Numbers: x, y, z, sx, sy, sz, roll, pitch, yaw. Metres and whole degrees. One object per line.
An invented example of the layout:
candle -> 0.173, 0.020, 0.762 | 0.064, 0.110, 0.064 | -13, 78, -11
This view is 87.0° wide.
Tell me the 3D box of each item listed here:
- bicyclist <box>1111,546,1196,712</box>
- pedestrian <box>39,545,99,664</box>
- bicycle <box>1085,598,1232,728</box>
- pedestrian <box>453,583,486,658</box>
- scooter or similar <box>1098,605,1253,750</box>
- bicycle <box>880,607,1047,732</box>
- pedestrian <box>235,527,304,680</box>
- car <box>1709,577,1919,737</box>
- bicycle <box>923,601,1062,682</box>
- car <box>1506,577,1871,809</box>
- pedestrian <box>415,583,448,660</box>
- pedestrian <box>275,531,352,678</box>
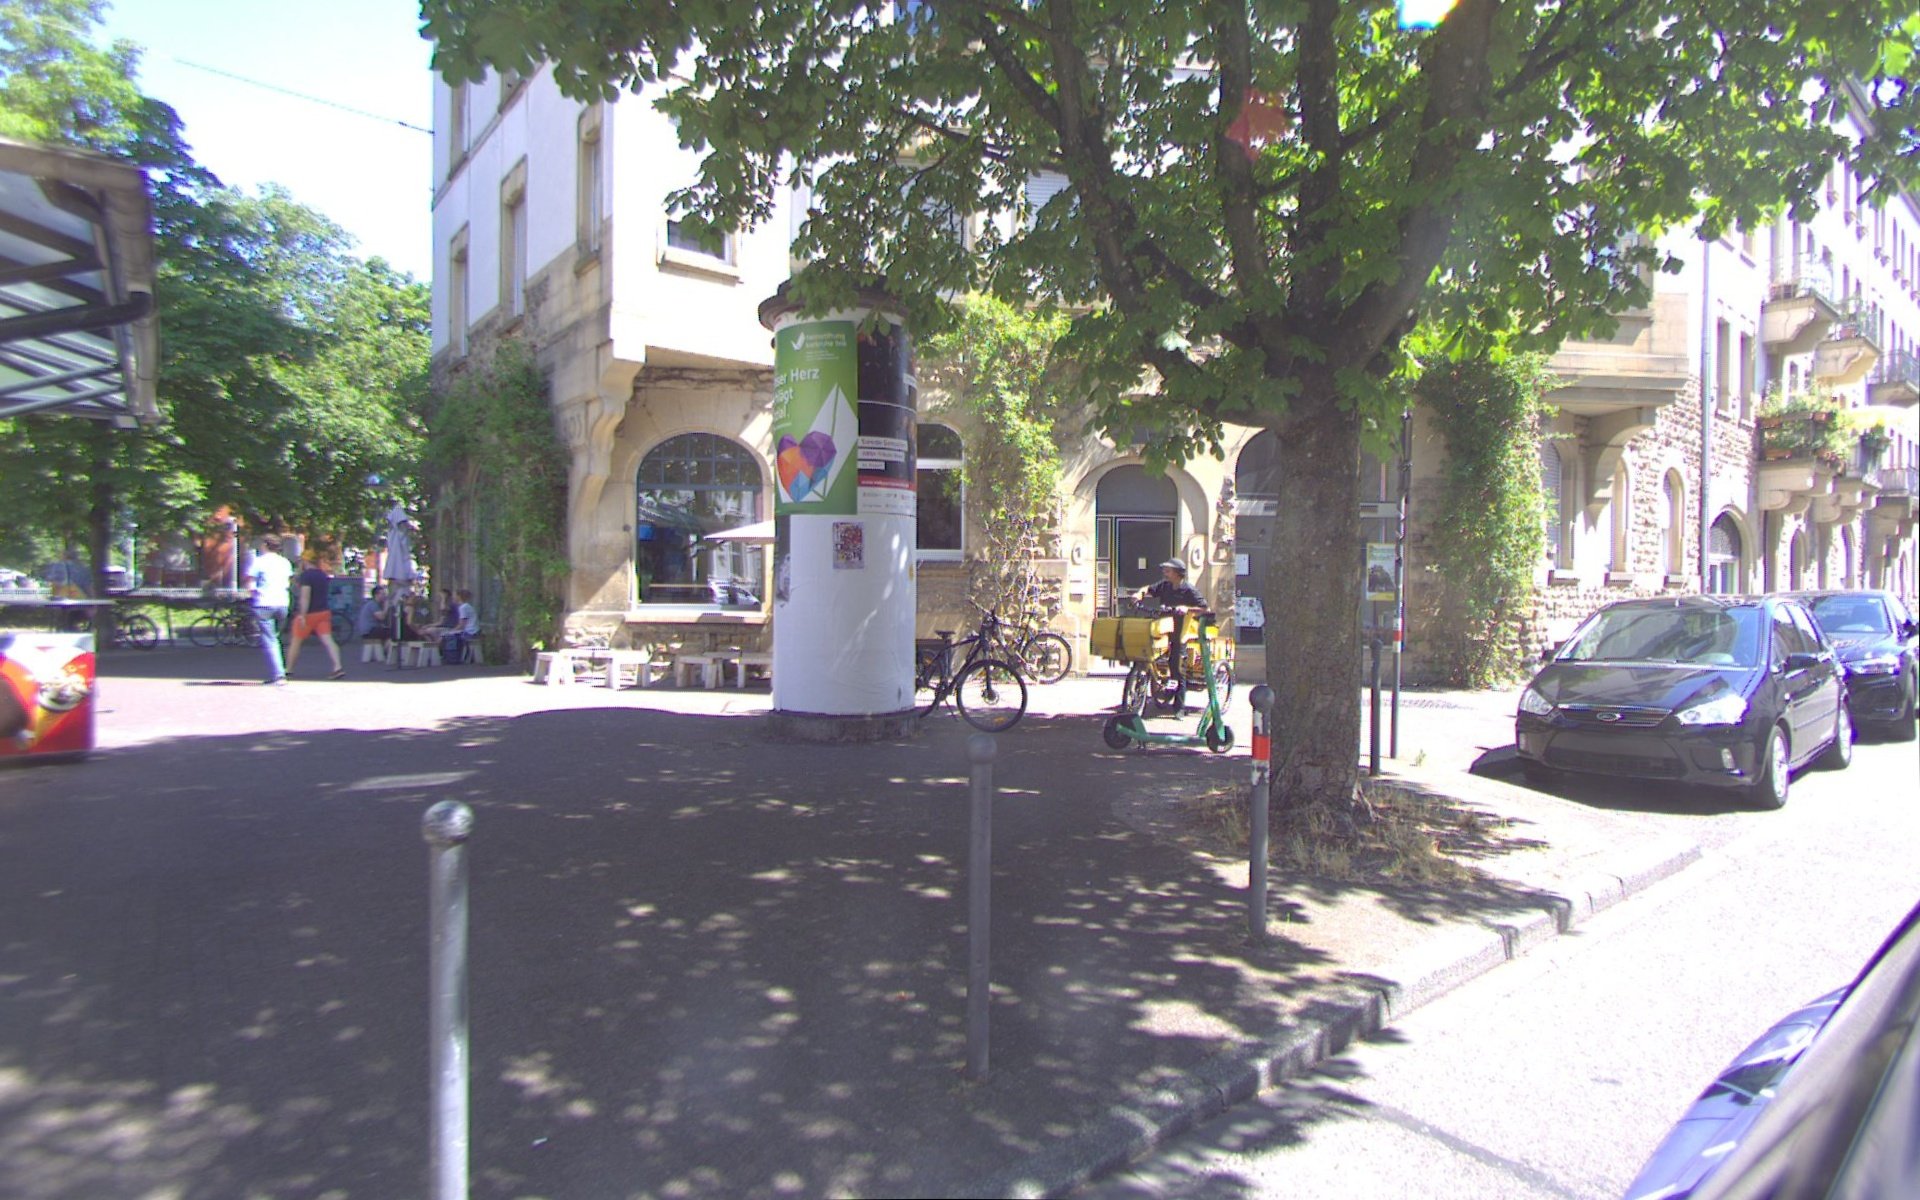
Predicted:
bicyclist -> 2.029, 0.277, 10.599 | 0.674, 1.668, 0.654 | 1, 1, 31
pedestrian -> -14.104, 0.057, 16.018 | 0.584, 1.835, 0.597 | 1, 1, 35
bicycle -> 2.212, 0.601, 10.954 | 0.789, 1.183, 2.551 | 1, 2, 29
pedestrian -> -8.120, 0.329, 16.738 | 0.406, 1.197, 0.444 | 0, 1, -38
scooter or similar -> 1.781, 0.632, 8.434 | 1.162, 1.150, 0.443 | 1, 1, -2
bicycle -> -0.008, 0.635, 10.126 | 0.622, 1.052, 1.905 | 0, 2, -38
pedestrian -> -8.774, 0.035, 12.868 | 0.648, 1.892, 0.514 | 1, 1, 32
car -> 10.717, 0.577, 12.294 | 4.272, 1.617, 1.738 | 0, -1, -41
bicycle -> 0.425, 0.555, 13.731 | 1.800, 1.052, 0.550 | 1, 1, -6
car -> 6.462, 0.633, 8.801 | 4.105, 1.560, 1.665 | 0, -1, -41
pedestrian -> -8.509, 0.335, 16.293 | 0.406, 1.197, 0.444 | 0, 1, -38
pedestrian -> -8.700, 0.044, 13.617 | 0.877, 1.903, 0.593 | 1, 1, 36
